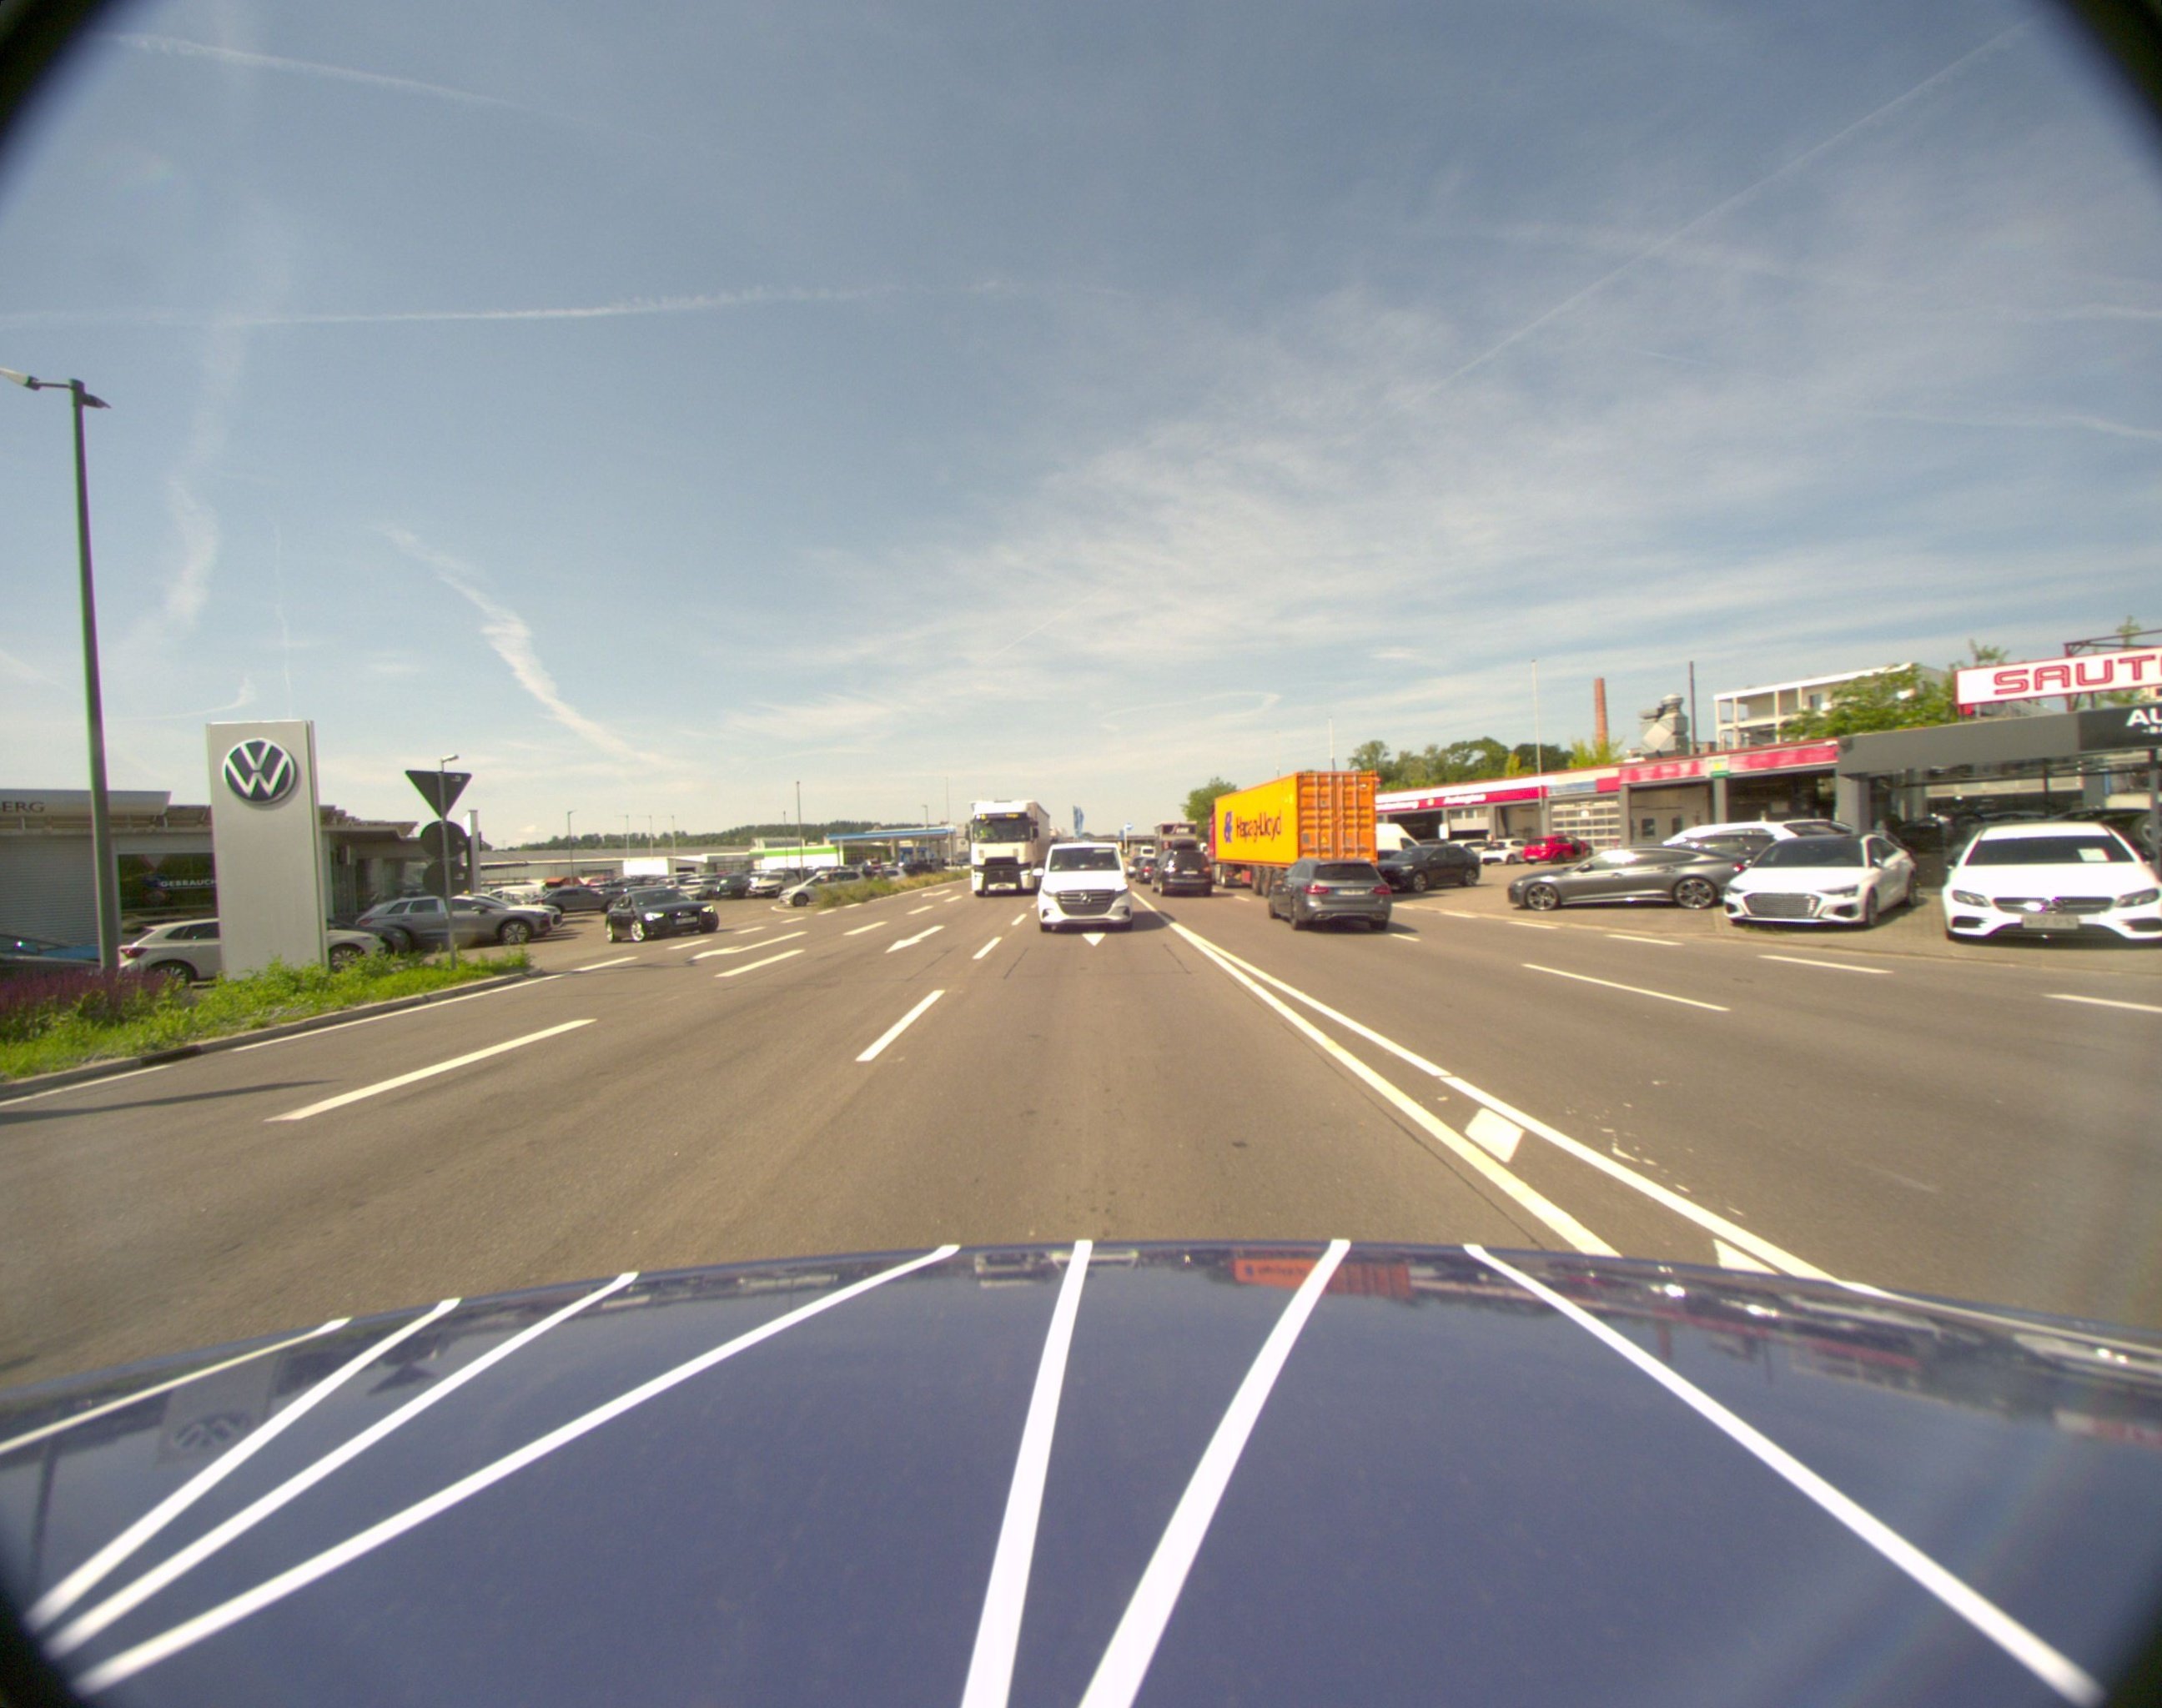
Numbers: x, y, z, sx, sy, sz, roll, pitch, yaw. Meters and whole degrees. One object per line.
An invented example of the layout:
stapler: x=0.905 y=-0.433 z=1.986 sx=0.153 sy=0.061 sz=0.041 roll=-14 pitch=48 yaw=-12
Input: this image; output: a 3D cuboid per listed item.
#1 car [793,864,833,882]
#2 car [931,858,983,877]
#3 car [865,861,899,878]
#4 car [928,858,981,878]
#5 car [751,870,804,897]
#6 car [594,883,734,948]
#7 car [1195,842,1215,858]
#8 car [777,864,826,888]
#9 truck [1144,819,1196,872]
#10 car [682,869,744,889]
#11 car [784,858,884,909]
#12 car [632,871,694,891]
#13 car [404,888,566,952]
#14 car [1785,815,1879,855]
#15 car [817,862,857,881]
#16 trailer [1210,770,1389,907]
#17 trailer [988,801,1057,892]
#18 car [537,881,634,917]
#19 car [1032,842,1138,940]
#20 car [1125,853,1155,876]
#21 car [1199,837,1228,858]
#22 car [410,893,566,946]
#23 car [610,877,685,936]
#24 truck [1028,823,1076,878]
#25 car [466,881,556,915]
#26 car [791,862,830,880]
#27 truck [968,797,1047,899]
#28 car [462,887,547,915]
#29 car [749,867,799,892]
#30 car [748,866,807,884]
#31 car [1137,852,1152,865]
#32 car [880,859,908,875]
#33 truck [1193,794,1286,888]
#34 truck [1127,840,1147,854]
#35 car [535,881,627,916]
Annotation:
car: x=-25.296 y=1.755 z=71.896 sx=1.689 sy=1.517 sz=4.540 roll=-2 pitch=0 yaw=6
car: x=-11.935 y=1.278 z=72.982 sx=4.543 sy=1.645 sz=1.772 roll=-2 pitch=1 yaw=-24
car: x=-19.966 y=1.528 z=76.368 sx=1.774 sy=1.571 sz=4.540 roll=-2 pitch=0 yaw=6
car: x=-11.665 y=1.286 z=70.119 sx=4.543 sy=1.645 sz=1.772 roll=-2 pitch=1 yaw=-26
car: x=-20.854 y=1.994 z=52.474 sx=1.908 sy=1.645 sz=4.708 roll=-2 pitch=0 yaw=-3
car: x=-11.344 y=1.660 z=20.508 sx=1.969 sy=1.325 sz=4.805 roll=-8 pitch=2 yaw=-44
car: x=18.768 y=-0.549 z=115.164 sx=2.438 sy=2.250 sz=5.341 roll=-3 pitch=0 yaw=5
car: x=-21.283 y=1.649 z=58.130 sx=1.774 sy=1.645 sz=4.539 roll=-2 pitch=0 yaw=4
truck: x=7.249 y=-0.677 z=63.236 sx=2.718 sy=3.975 sz=9.973 roll=-2 pitch=0 yaw=-2
car: x=-30.708 y=2.053 z=63.545 sx=1.819 sy=1.423 sz=4.491 roll=-2 pitch=0 yaw=23
car: x=-12.033 y=1.376 z=37.077 sx=4.355 sy=2.200 sz=1.759 roll=-2 pitch=1 yaw=-29
car: x=-36.480 y=2.336 z=66.420 sx=1.819 sy=1.466 sz=4.545 roll=-2 pitch=0 yaw=23
car: x=-19.422 y=2.086 z=24.963 sx=4.007 sy=1.661 sz=1.916 roll=-2 pitch=1 yaw=-36
car: x=36.323 y=-0.940 z=36.764 sx=4.107 sy=1.797 sz=1.747 roll=-2 pitch=1 yaw=-22
car: x=-22.866 y=1.621 z=71.315 sx=1.774 sy=1.645 sz=4.540 roll=-2 pitch=0 yaw=6
trailer: x=7.510 y=-0.487 z=28.603 sx=2.728 sy=3.975 sz=12.231 roll=-2 pitch=0 yaw=-2
trailer: x=-2.921 y=-0.388 z=41.257 sx=2.613 sy=4.203 sz=11.291 roll=-2 pitch=0 yaw=1
car: x=-26.370 y=2.372 z=40.515 sx=4.084 sy=1.599 sz=1.689 roll=-2 pitch=-1 yaw=-41
car: x=0.116 y=0.704 z=17.662 sx=1.993 sy=1.858 sz=5.803 roll=-2 pitch=0 yaw=1
car: x=3.778 y=0.648 z=48.953 sx=1.716 sy=1.435 sz=4.379 roll=0 pitch=0 yaw=2
car: x=17.108 y=-0.897 z=97.905 sx=2.435 sy=2.529 sz=6.050 roll=-3 pitch=0 yaw=20
car: x=-20.953 y=2.247 z=26.971 sx=4.219 sy=1.449 sz=1.889 roll=-2 pitch=1 yaw=-40
car: x=-14.689 y=1.711 z=25.935 sx=1.778 sy=1.645 sz=4.068 roll=-4 pitch=1 yaw=-25
truck: x=-2.158 y=-0.286 z=60.840 sx=2.646 sy=3.963 sz=9.241 roll=-2 pitch=0 yaw=4
car: x=-38.466 y=2.953 z=51.437 sx=4.544 sy=1.937 sz=1.772 roll=-2 pitch=1 yaw=-27
car: x=-27.528 y=1.728 z=77.470 sx=1.773 sy=1.645 sz=4.541 roll=-2 pitch=0 yaw=10
truck: x=-3.045 y=-0.254 z=33.111 sx=2.647 sy=3.963 sz=6.041 roll=-2 pitch=1 yaw=0
car: x=-37.075 y=3.012 z=49.028 sx=4.082 sy=1.483 sz=1.772 roll=-2 pitch=1 yaw=-28
car: x=-23.550 y=1.927 z=58.434 sx=1.774 sy=1.645 sz=4.434 roll=-2 pitch=0 yaw=4
car: x=-27.078 y=1.884 z=67.912 sx=4.530 sy=1.450 sz=1.951 roll=-2 pitch=1 yaw=12
car: x=7.507 y=0.495 z=90.318 sx=1.657 sy=1.546 sz=4.000 roll=0 pitch=0 yaw=2
car: x=-21.622 y=1.446 z=87.893 sx=1.712 sy=1.702 sz=4.261 roll=-2 pitch=0 yaw=6
truck: x=7.236 y=-0.573 z=35.623 sx=2.728 sy=3.975 sz=6.055 roll=-2 pitch=1 yaw=-3
truck: x=11.483 y=-1.419 z=156.077 sx=2.444 sy=2.820 sz=6.036 roll=-2 pitch=0 yaw=-10
car: x=-28.022 y=2.452 z=42.671 sx=4.084 sy=1.645 sz=1.771 roll=-2 pitch=1 yaw=-41
